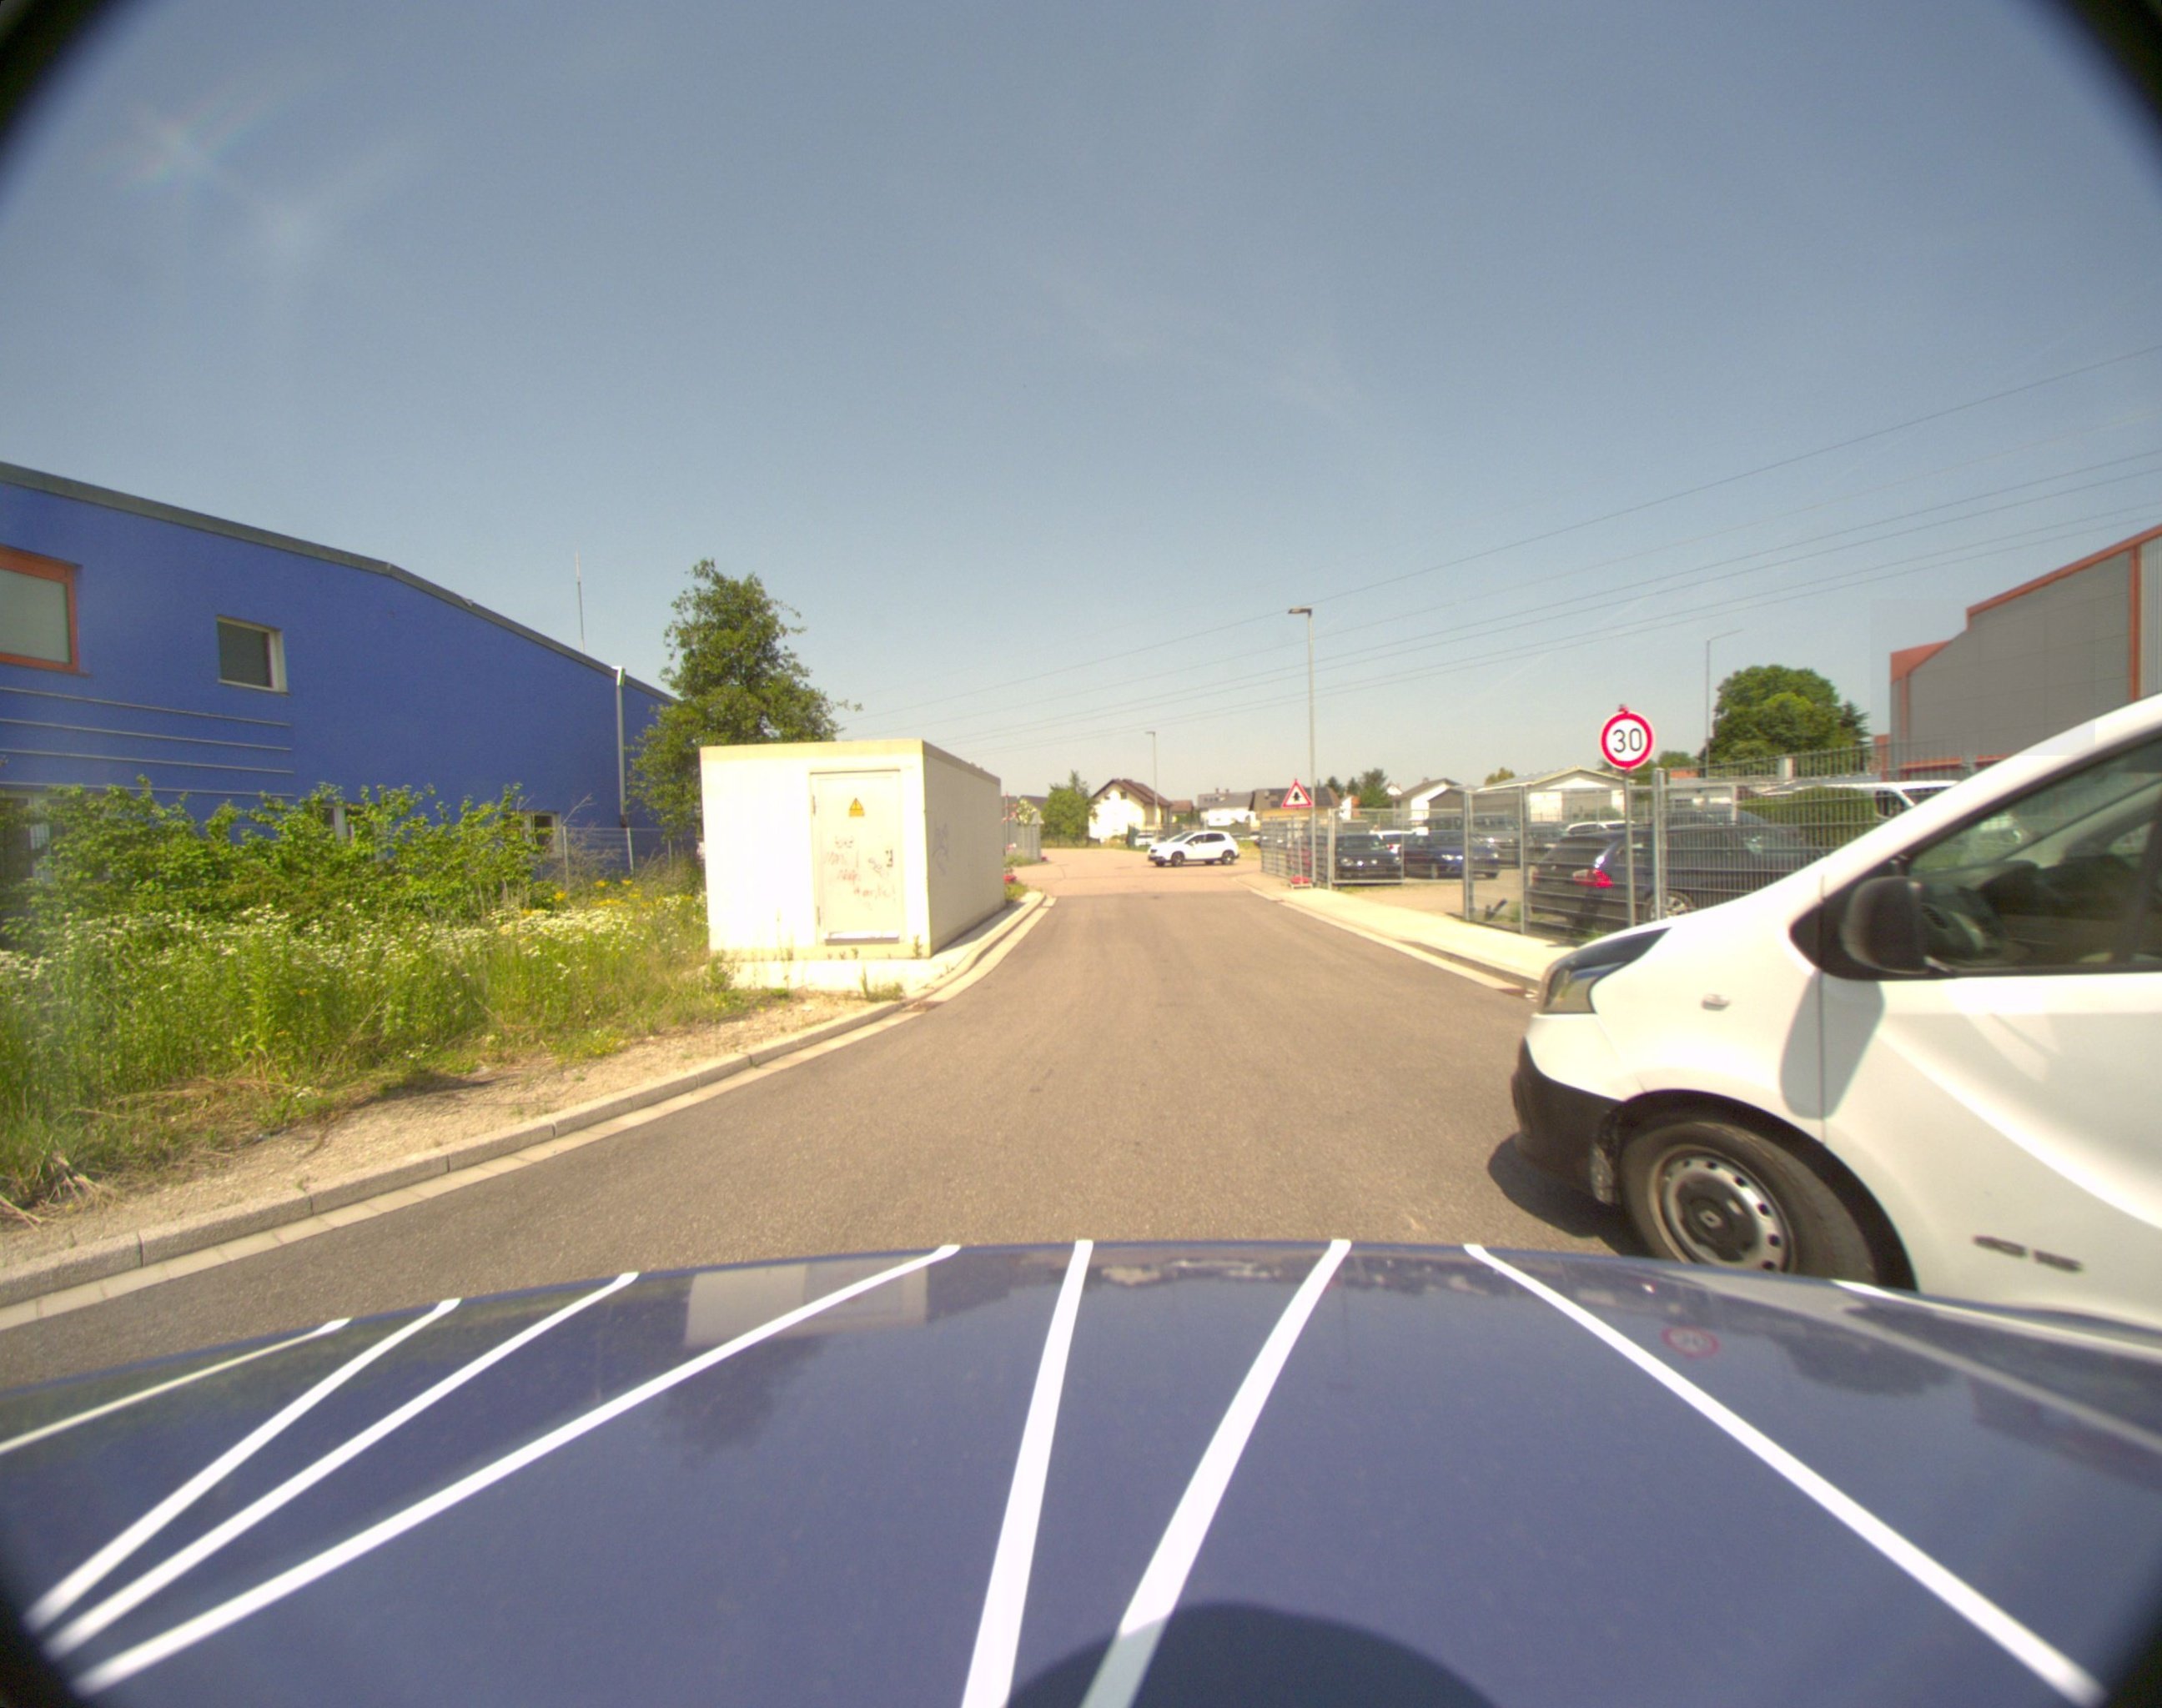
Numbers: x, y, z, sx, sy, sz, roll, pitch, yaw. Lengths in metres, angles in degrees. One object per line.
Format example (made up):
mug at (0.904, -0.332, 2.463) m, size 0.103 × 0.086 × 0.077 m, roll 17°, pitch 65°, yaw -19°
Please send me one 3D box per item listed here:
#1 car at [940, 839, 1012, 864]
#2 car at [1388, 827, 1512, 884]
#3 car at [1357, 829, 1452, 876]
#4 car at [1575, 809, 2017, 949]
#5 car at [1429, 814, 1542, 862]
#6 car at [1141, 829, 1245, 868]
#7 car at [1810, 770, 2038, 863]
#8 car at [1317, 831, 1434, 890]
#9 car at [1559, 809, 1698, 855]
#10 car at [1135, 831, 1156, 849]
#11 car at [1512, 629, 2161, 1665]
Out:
car at (-7.005, -0.176, 50.594) m, size 4.576 × 1.419 × 1.998 m, roll -2°, pitch 1°, yaw -9°
car at (10.848, 0.009, 22.665) m, size 1.774 × 1.494 × 3.809 m, roll -3°, pitch 1°, yaw -1°
car at (11.383, -0.087, 27.022) m, size 1.773 × 1.494 × 4.000 m, roll -3°, pitch 1°, yaw 2°
car at (9.078, 0.293, 9.945) m, size 3.996 × 1.494 × 1.775 m, roll -3°, pitch 1°, yaw 3°
car at (14.123, -0.563, 26.793) m, size 1.774 × 1.494 × 3.999 m, roll -3°, pitch 1°, yaw -1°
car at (4.985, -0.267, 33.820) m, size 4.165 × 1.494 × 1.772 m, roll -3°, pitch 1°, yaw -19°
car at (22.843, -0.967, 20.903) m, size 1.997 × 2.183 × 4.325 m, roll -2°, pitch 1°, yaw 11°
car at (8.485, 0.134, 22.272) m, size 1.774 × 1.494 × 3.999 m, roll -3°, pitch 1°, yaw -1°
car at (18.946, -0.756, 26.538) m, size 1.897 × 1.412 × 4.199 m, roll -2°, pitch 1°, yaw 2°
car at (5.776, -1.305, 67.739) m, size 1.773 × 1.494 × 4.162 m, roll -2°, pitch 2°, yaw 5°
car at (3.539, 0.563, 1.014) m, size 2.012 × 2.048 × 4.802 m, roll -1°, pitch 0°, yaw -29°
